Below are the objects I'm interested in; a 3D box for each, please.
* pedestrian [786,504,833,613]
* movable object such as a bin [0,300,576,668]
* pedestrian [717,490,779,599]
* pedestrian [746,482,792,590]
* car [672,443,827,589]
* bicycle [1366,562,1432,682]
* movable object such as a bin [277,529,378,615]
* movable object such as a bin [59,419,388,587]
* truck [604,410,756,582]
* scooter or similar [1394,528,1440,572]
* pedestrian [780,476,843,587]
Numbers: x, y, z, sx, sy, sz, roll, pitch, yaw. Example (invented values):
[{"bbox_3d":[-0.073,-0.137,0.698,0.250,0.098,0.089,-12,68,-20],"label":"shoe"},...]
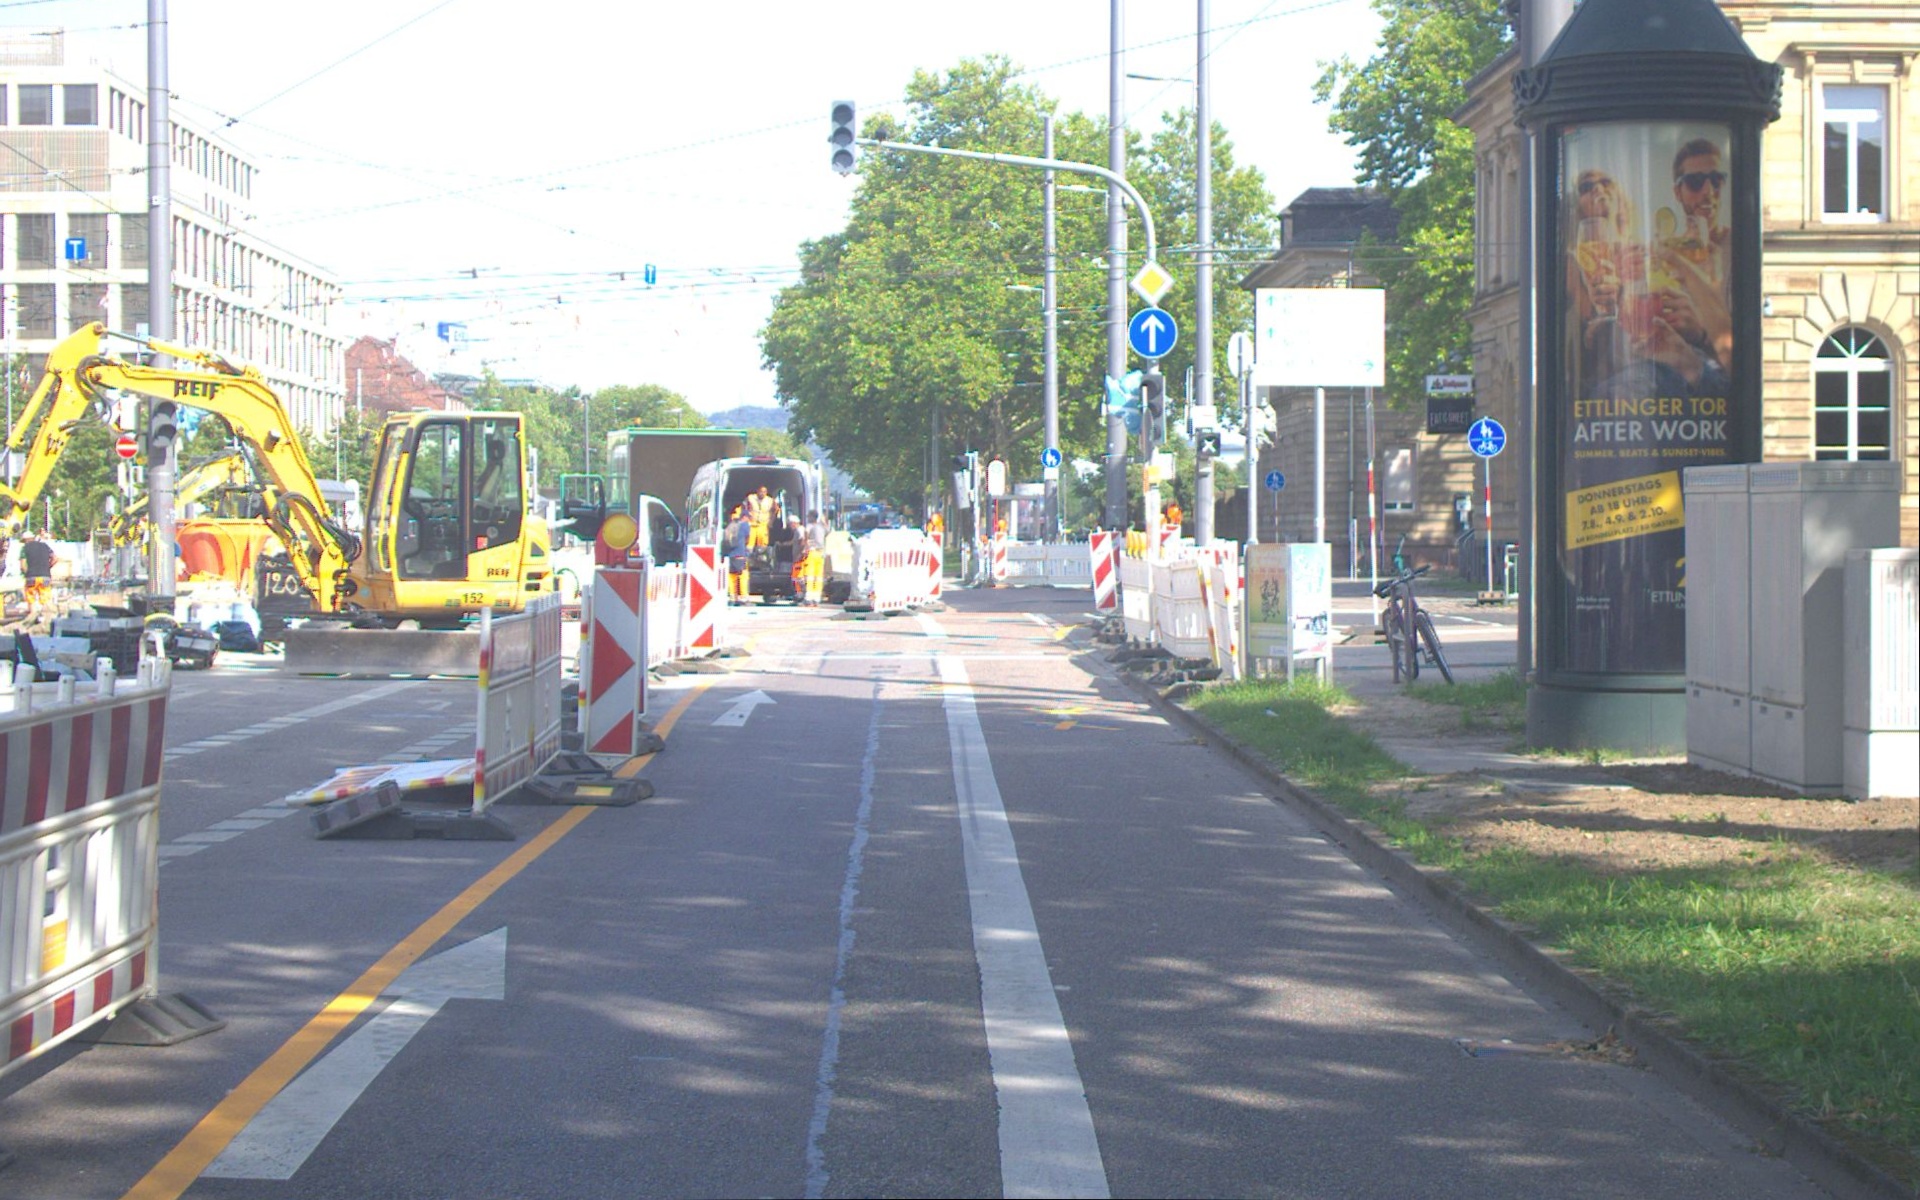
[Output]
[{"bbox_3d":[-2.792,-0.775,63.872,0.734,2.007,0.907,-1,1,6],"label":"pedestrian"},{"bbox_3d":[-6.939,-1.076,32.952,6.141,3.334,2.117,0,1,-20],"label":"movable object such as a bin"},{"bbox_3d":[-3.916,-1.026,63.525,0.735,2.007,0.906,0,1,31],"label":"pedestrian"},{"bbox_3d":[-3.609,-1.206,64.954,0.734,2.007,0.907,-1,1,5],"label":"pedestrian"},{"bbox_3d":[-4.150,-1.624,67.000,2.224,2.720,5.172,0,1,-12],"label":"car"},{"bbox_3d":[3.738,0.178,29.311,0.410,0.983,1.376,0,1,1],"label":"bicycle"},{"bbox_3d":[-8.728,-0.400,47.551,0.750,1.166,2.290,0,1,6],"label":"movable object such as a bin"},{"bbox_3d":[-18.403,-2.434,86.671,3.508,3.999,9.031,0,2,23],"label":"movable object such as a bin"},{"bbox_3d":[-6.400,-2.319,77.513,2.673,3.665,8.216,-1,1,-10],"label":"truck"},{"bbox_3d":[13.053,-1.430,98.228,1.251,1.205,0.423,-2,3,-26],"label":"scooter or similar"},{"bbox_3d":[-2.711,-1.259,62.900,0.735,2.007,0.905,0,1,33],"label":"pedestrian"}]
